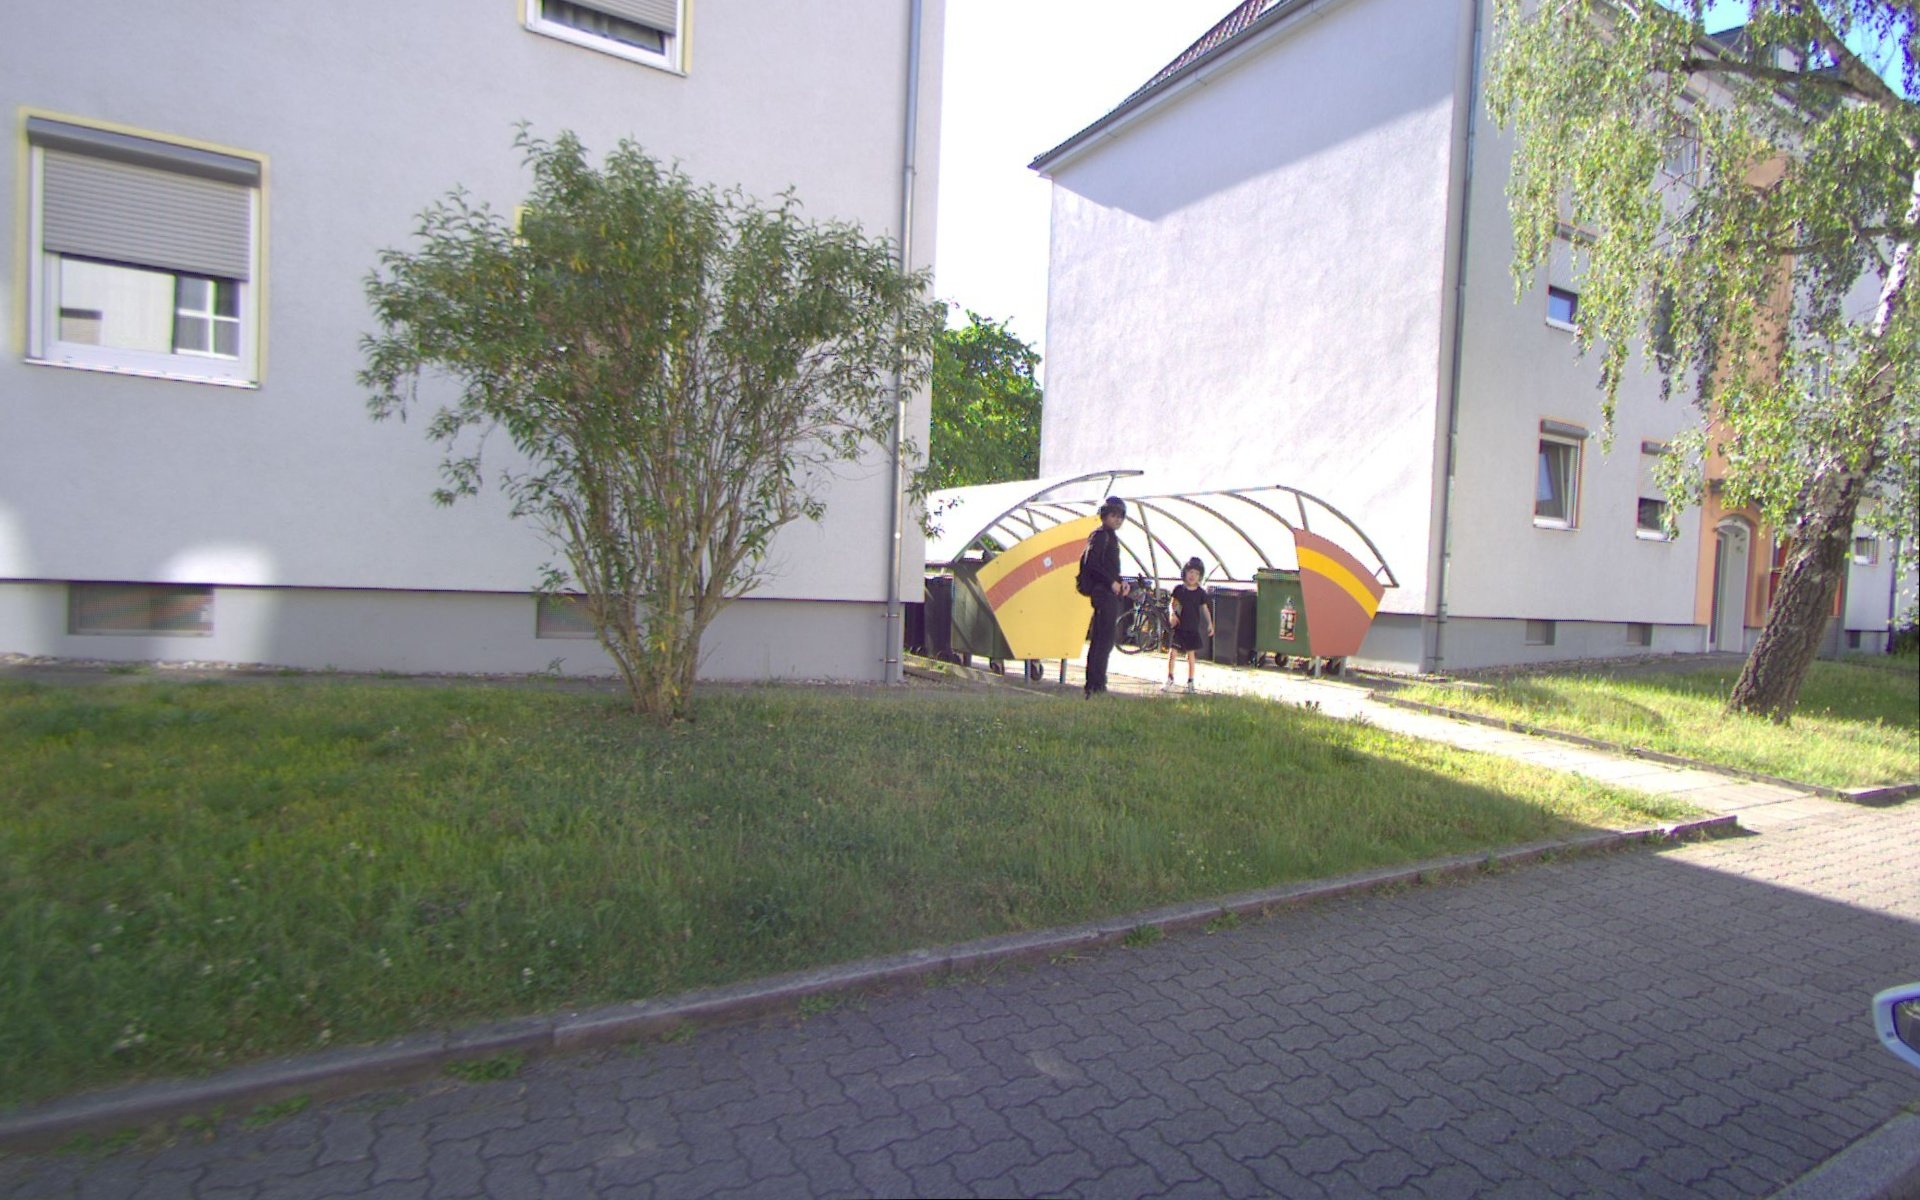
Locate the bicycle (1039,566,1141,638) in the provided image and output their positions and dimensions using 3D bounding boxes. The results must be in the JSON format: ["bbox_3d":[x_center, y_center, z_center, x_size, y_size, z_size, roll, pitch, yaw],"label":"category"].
[{"bbox_3d":[2.228,0.050,17.089,1.814,1.169,0.427,1,0,-31],"label":"bicycle"}]

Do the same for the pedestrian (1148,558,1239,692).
[{"bbox_3d":[2.430,0.247,10.490,0.568,1.335,0.683,2,1,-29],"label":"pedestrian"}]

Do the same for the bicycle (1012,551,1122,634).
[{"bbox_3d":[1.946,-0.112,18.127,1.990,1.416,0.614,1,0,-31],"label":"bicycle"}]

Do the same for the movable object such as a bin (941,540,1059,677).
[{"bbox_3d":[0.424,0.069,11.097,0.803,1.425,1.079,1,3,-29],"label":"movable object such as a bin"}]

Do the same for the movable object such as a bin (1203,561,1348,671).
[{"bbox_3d":[4.310,0.198,13.812,1.213,1.354,1.381,1,4,-30],"label":"movable object such as a bin"}]

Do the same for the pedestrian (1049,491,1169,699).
[{"bbox_3d":[1.392,-0.048,9.453,0.709,1.848,0.802,2,1,-29],"label":"pedestrian"}]

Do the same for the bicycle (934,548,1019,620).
[{"bbox_3d":[0.341,-0.320,20.653,1.738,1.416,0.463,1,0,-31],"label":"bicycle"}]

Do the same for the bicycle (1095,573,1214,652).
[{"bbox_3d":[2.949,0.196,15.183,1.828,1.132,0.529,1,3,-31],"label":"bicycle"}]

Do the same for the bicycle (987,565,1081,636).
[{"bbox_3d":[1.389,0.022,18.692,1.769,1.252,0.466,1,0,-31],"label":"bicycle"}]
